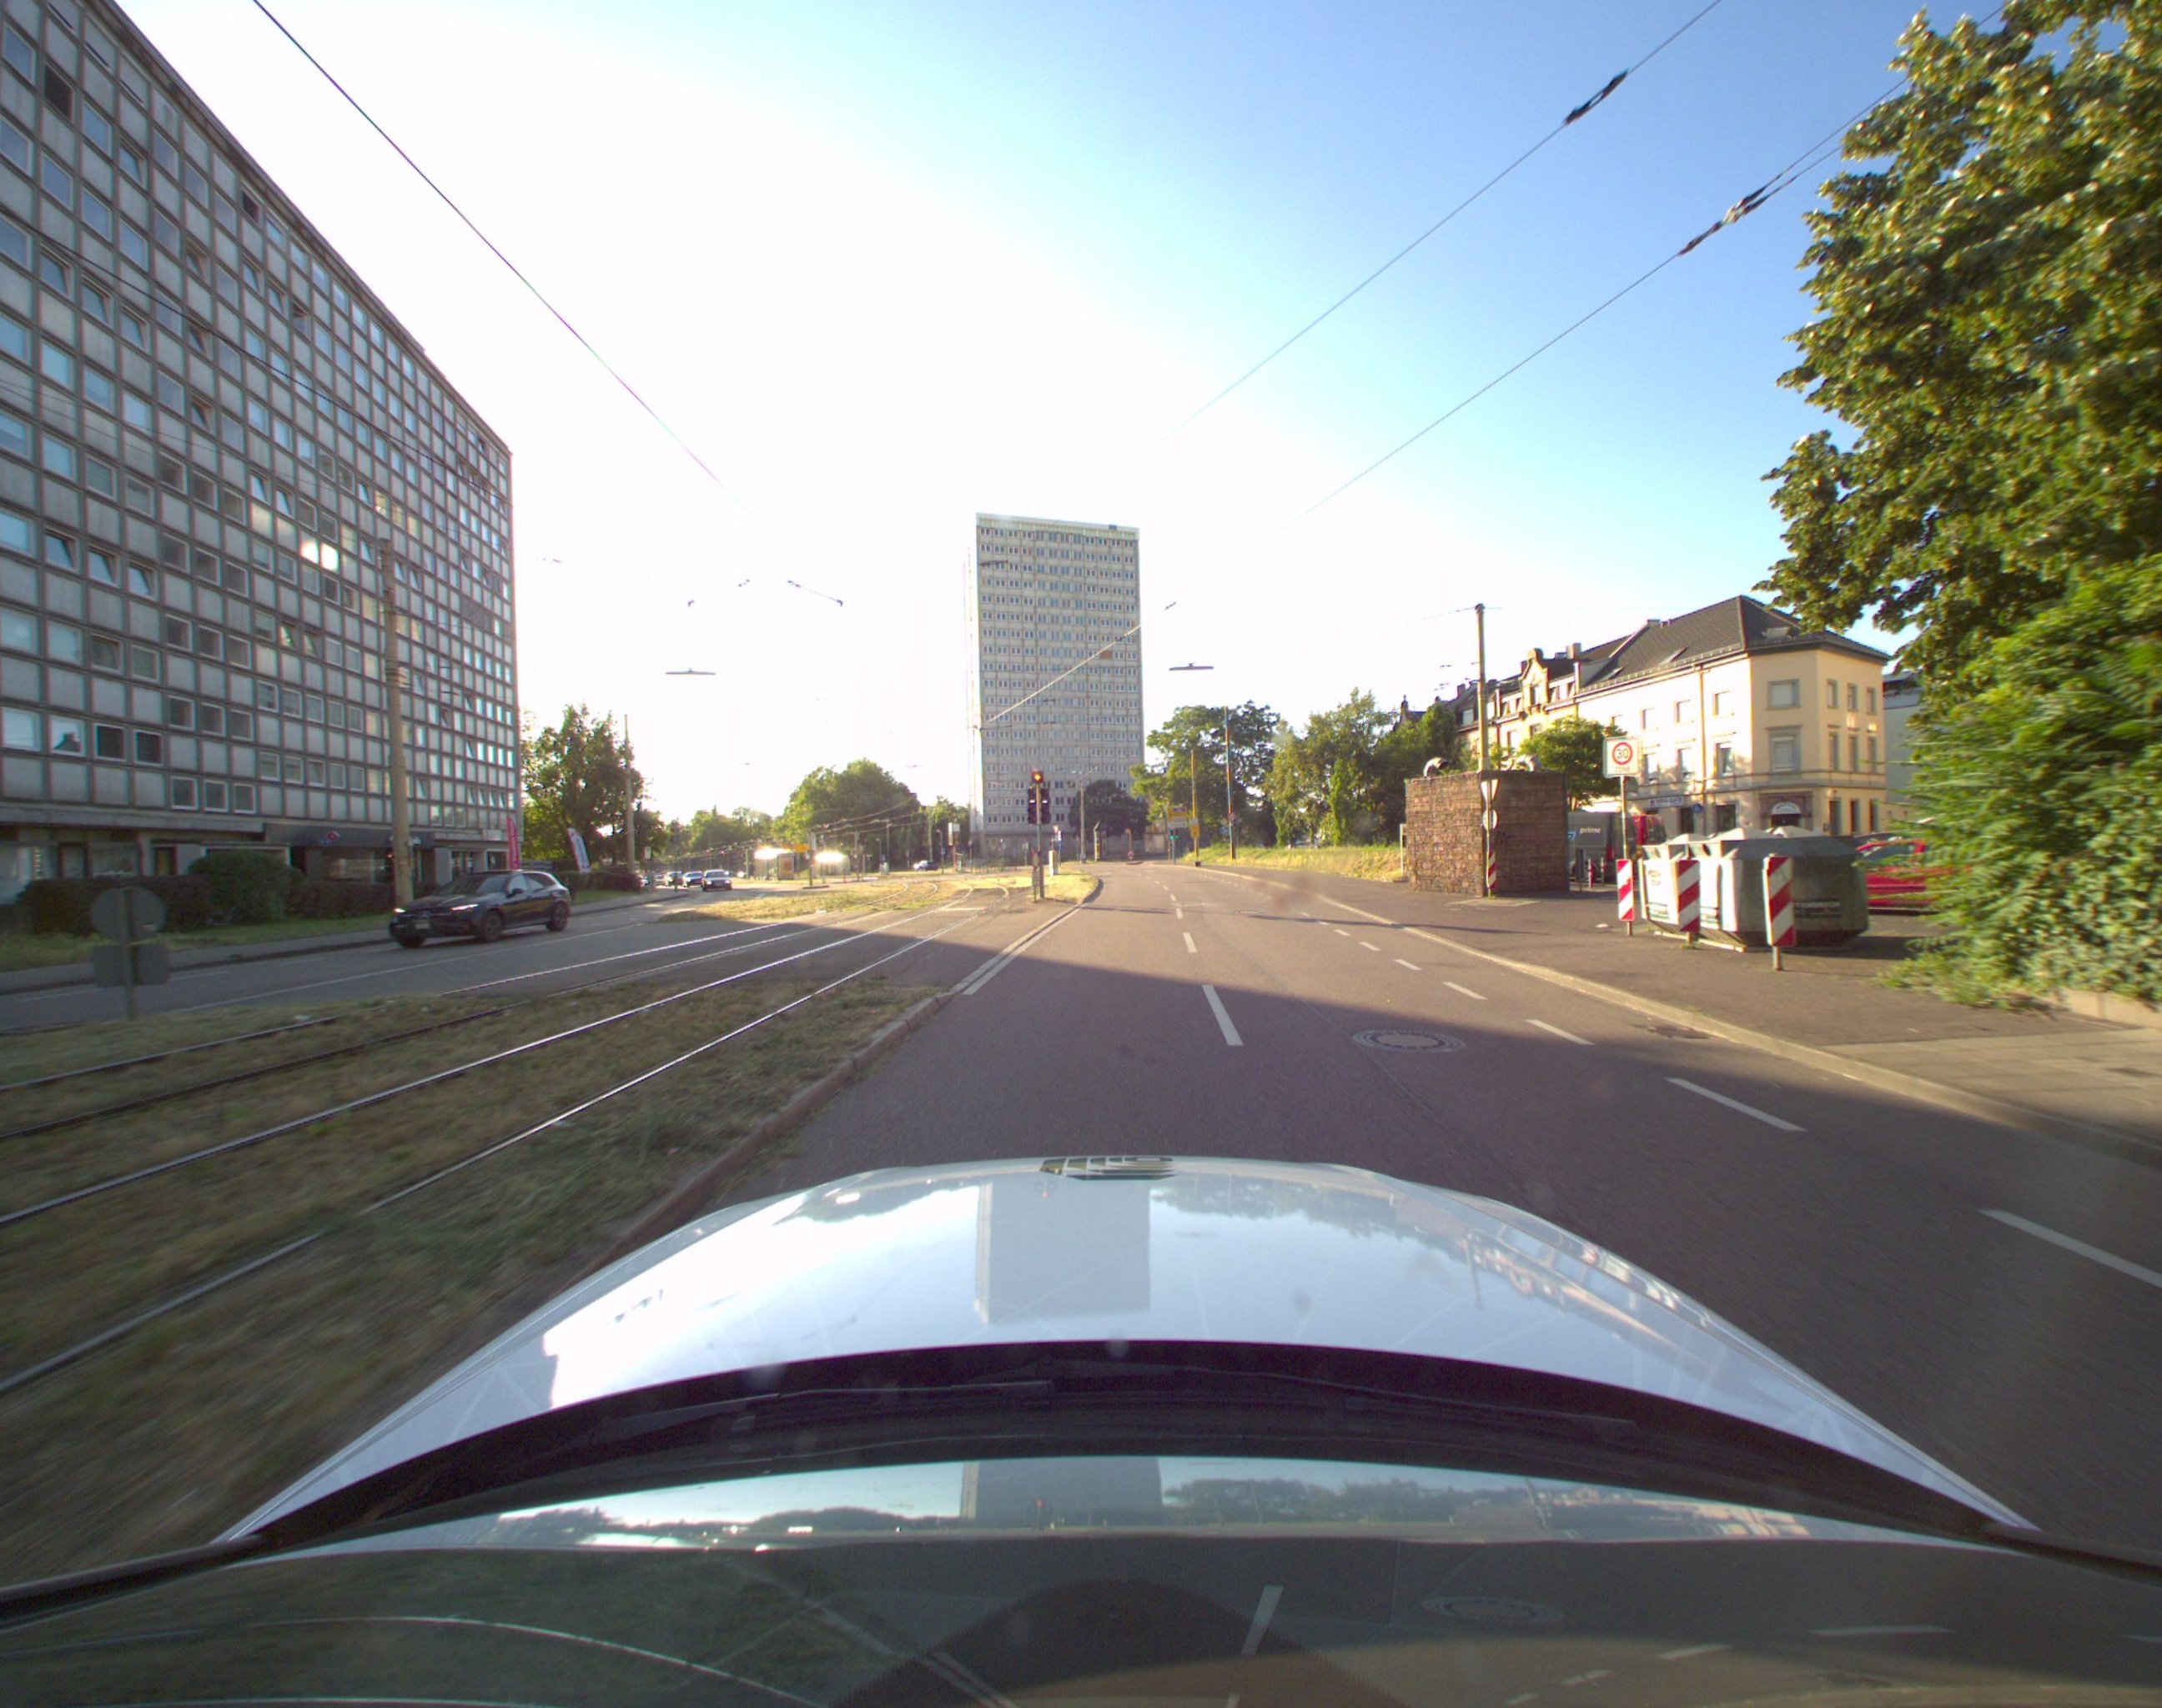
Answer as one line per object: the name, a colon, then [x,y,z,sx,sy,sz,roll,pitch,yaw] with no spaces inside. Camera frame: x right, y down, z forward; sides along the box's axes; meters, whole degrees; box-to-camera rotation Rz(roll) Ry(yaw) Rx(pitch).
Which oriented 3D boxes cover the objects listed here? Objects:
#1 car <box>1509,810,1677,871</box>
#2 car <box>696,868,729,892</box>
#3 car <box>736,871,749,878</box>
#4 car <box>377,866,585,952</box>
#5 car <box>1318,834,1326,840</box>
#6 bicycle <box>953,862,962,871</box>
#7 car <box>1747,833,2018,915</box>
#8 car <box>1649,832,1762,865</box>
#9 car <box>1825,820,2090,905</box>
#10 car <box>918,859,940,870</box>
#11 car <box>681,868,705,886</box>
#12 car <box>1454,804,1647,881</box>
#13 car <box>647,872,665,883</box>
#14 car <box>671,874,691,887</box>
car: [20.656,-0.492,33.114,2.051,2.214,5.359,-2,0,-33]
car: [-26.081,1.817,57.788,1.783,1.481,4.368,-4,0,-21]
car: [-81.640,4.929,196.440,2.053,1.446,3.957,-5,1,-35]
car: [-14.548,1.235,20.171,1.915,1.662,4.700,-3,1,-5]
car: [68.083,-4.750,230.113,1.843,1.543,4.021,-3,0,20]
bicycle: [-13.638,1.345,89.927,0.551,0.917,1.744,-4,0,2]
car: [15.237,0.361,15.650,1.637,1.357,3.411,-2,0,-32]
car: [29.508,-0.232,38.570,1.786,1.373,3.849,-2,0,-33]
car: [17.753,0.168,16.645,1.637,1.537,3.411,-1,-1,-32]
car: [-20.250,1.431,108.371,1.783,1.422,3.820,-3,0,-28]
car: [-37.106,2.214,77.871,1.662,1.596,4.541,-2,0,-31]
car: [17.912,-0.367,31.501,2.051,2.666,6.150,-2,0,-33]
car: [-56.019,3.063,107.323,1.813,1.367,3.926,-2,0,-31]
car: [-43.791,2.840,89.099,1.556,1.340,3.556,-2,0,-33]
